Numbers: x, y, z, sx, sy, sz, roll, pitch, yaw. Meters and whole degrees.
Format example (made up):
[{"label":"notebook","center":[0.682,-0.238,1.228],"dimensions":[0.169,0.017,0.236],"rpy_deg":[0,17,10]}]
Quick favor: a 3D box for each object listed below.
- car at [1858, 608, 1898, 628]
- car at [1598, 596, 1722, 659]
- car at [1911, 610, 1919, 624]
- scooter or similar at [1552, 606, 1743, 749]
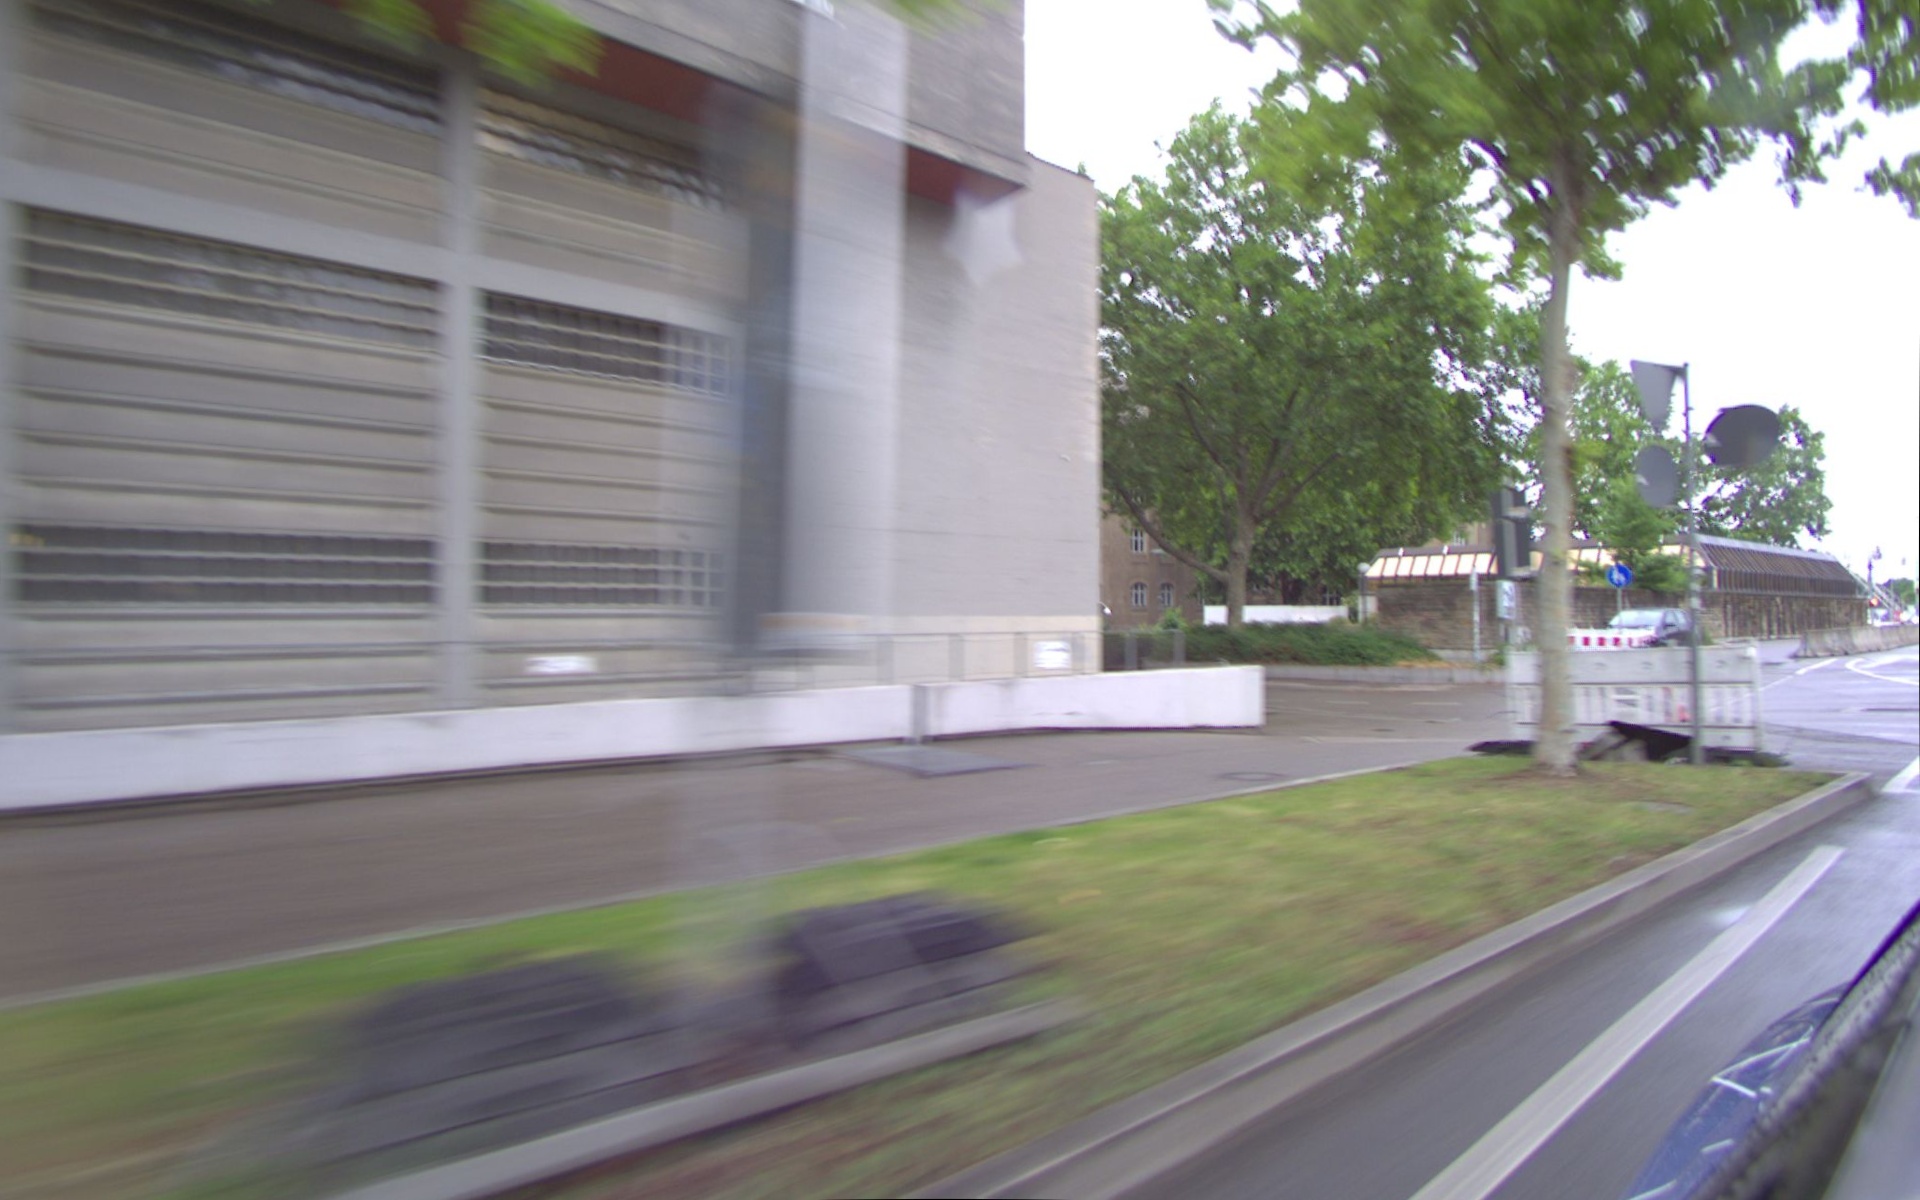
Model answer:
[{"label":"car","center":[96.569,1.933,106.554],"dimensions":[1.981,2.040,4.378],"rpy_deg":[-3,-3,28]},{"label":"car","center":[21.829,0.795,31.517],"dimensions":[4.245,1.570,1.811],"rpy_deg":[-3,5,-36]},{"label":"car","center":[113.389,2.012,118.879],"dimensions":[1.990,1.578,4.459],"rpy_deg":[-3,-3,40]},{"label":"scooter or similar","center":[6.839,0.770,10.118],"dimensions":[0.608,1.302,1.358],"rpy_deg":[-2,-4,-39]}]
